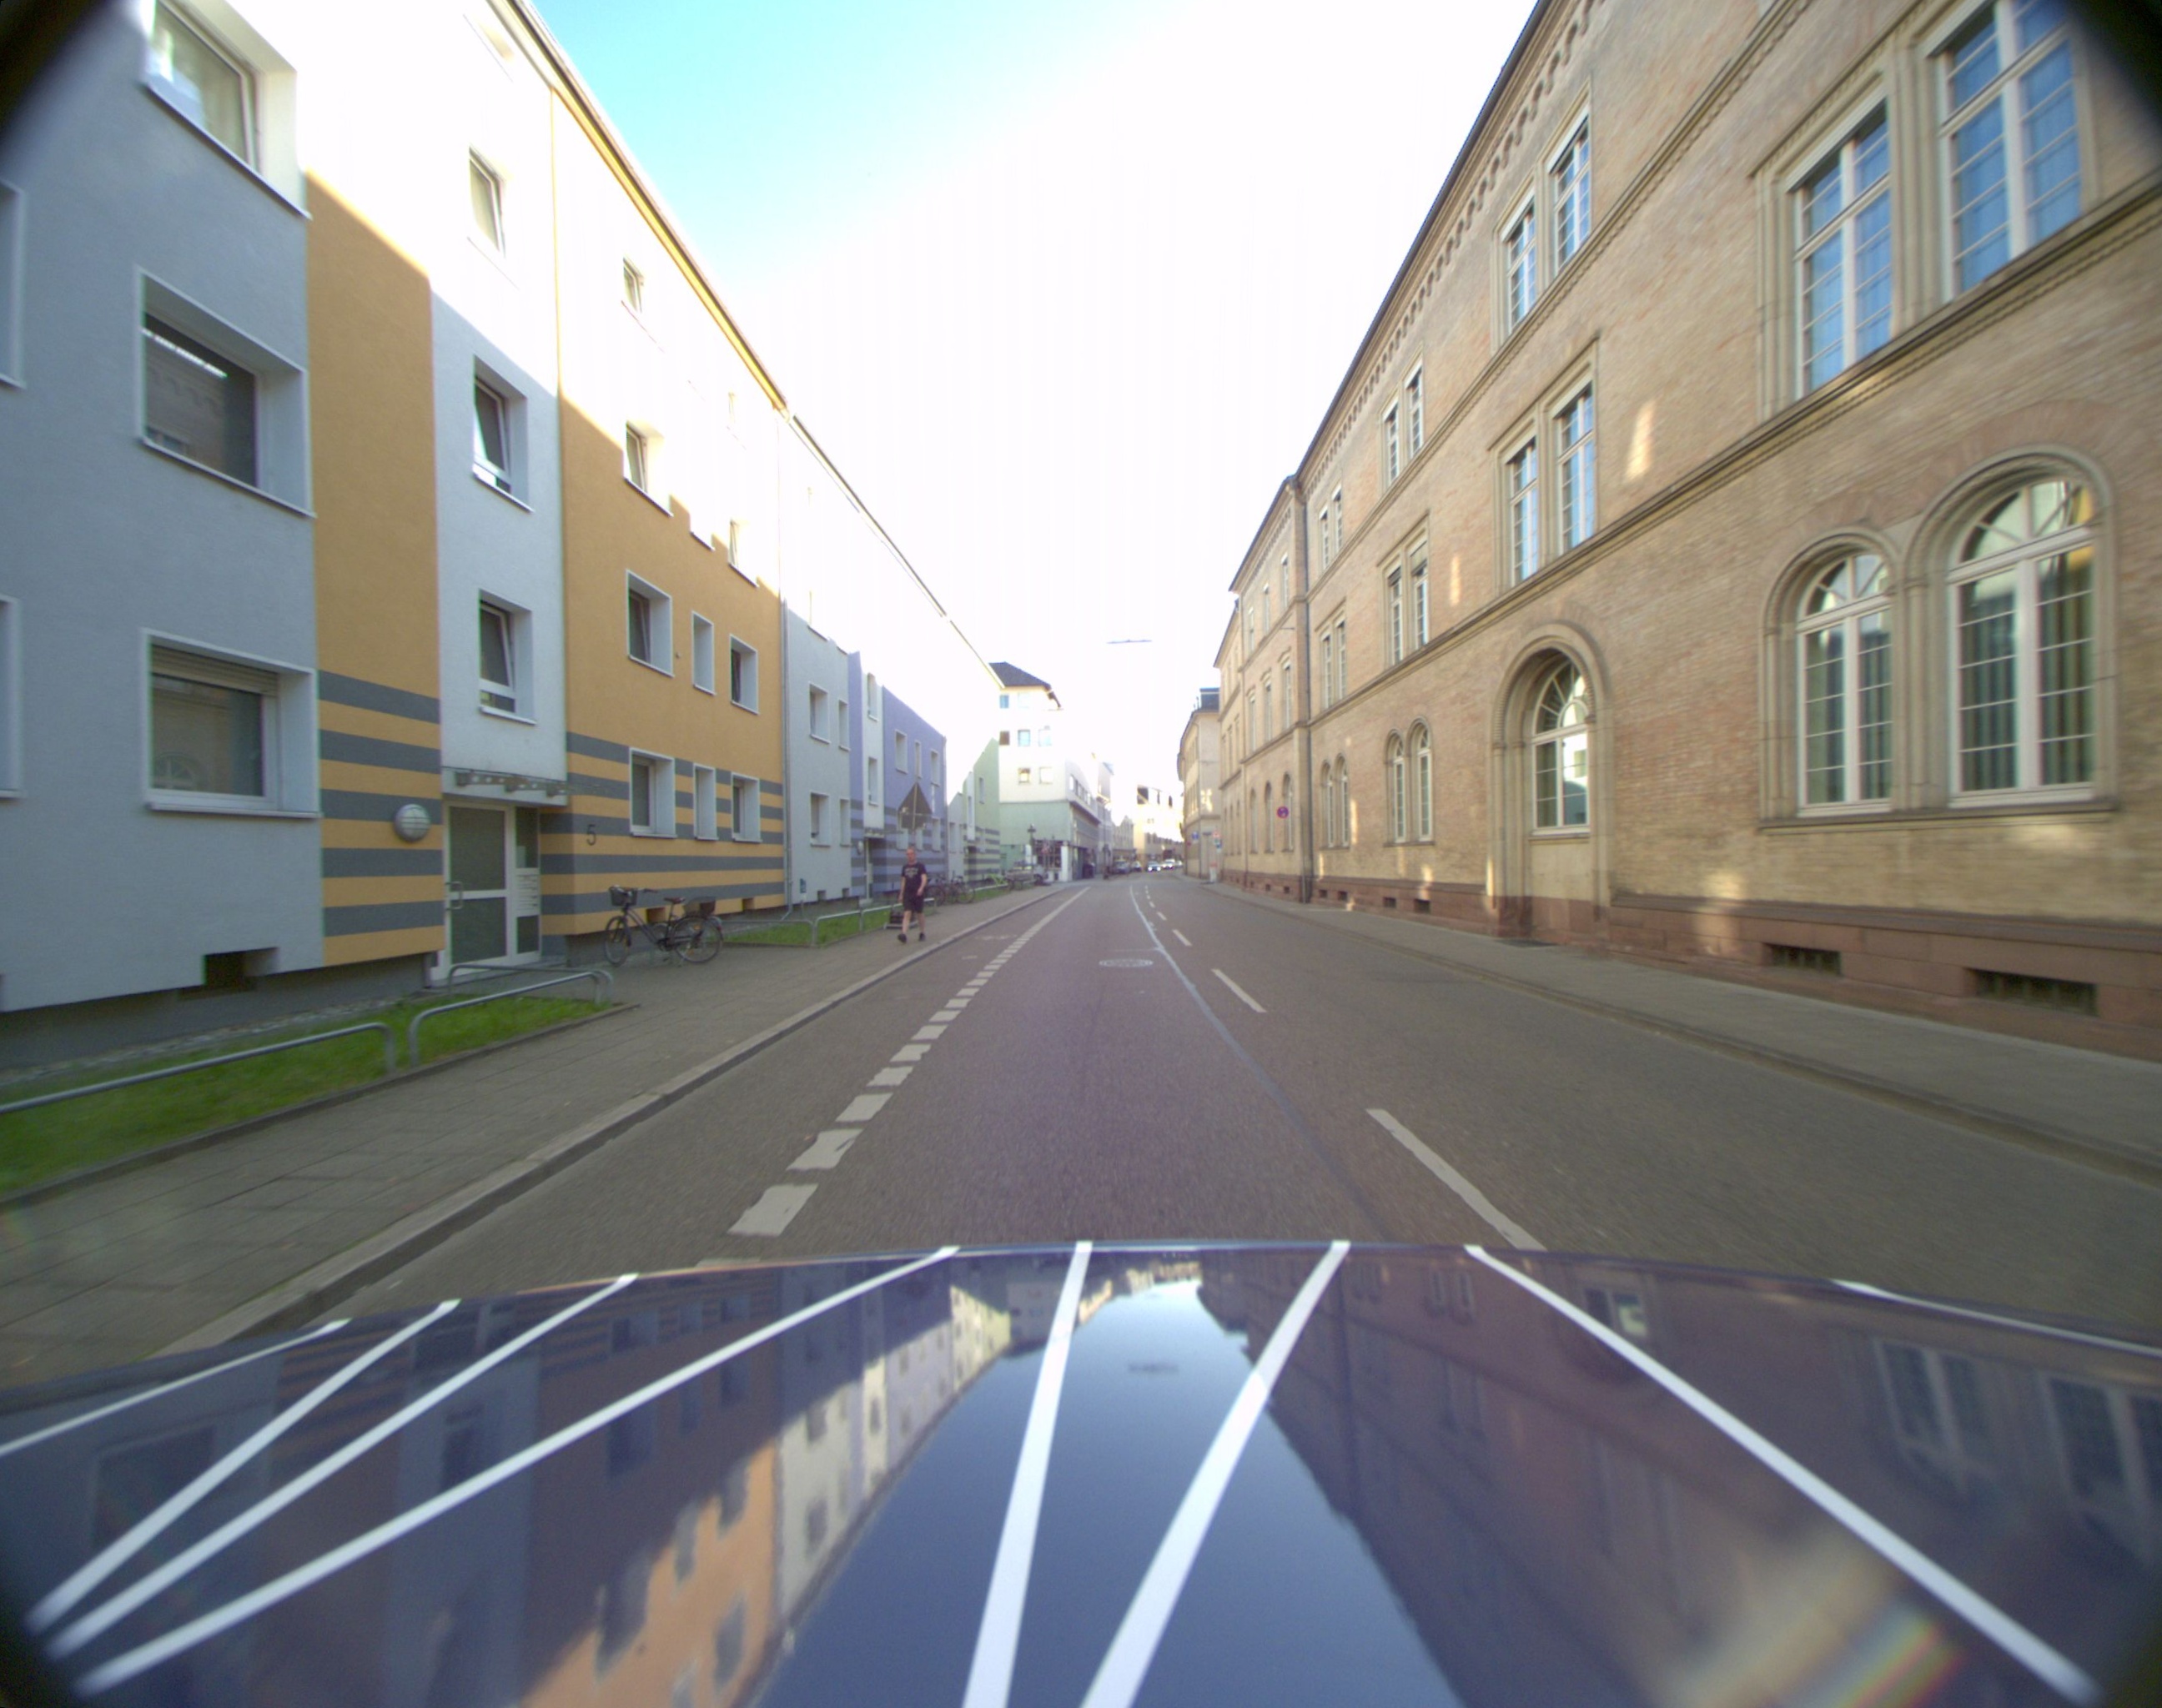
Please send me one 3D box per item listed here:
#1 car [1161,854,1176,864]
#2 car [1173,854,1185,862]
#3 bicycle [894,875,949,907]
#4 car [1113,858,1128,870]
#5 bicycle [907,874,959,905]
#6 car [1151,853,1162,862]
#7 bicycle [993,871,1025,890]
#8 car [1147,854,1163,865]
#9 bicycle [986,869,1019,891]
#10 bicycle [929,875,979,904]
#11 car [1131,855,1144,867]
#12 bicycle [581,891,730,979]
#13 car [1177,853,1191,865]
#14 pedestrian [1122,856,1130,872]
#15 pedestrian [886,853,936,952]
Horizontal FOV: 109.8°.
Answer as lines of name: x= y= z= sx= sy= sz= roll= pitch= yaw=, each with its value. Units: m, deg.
car: x=15.728 y=0.890 z=136.194 sx=1.921 sy=1.712 sz=4.966 roll=-1 pitch=0 yaw=15
car: x=20.383 y=0.783 z=157.825 sx=1.925 sy=1.714 sz=4.235 roll=-1 pitch=0 yaw=17
bicycle: x=-5.315 y=1.240 z=25.425 sx=1.711 sy=1.039 sz=0.636 roll=0 pitch=0 yaw=0
car: x=4.961 y=1.184 z=94.746 sx=1.634 sy=1.405 sz=3.686 roll=-1 pitch=0 yaw=6
bicycle: x=-5.156 y=1.229 z=26.574 sx=1.711 sy=1.075 sz=0.636 roll=0 pitch=0 yaw=-1
car: x=14.263 y=0.646 z=143.194 sx=1.534 sy=1.714 sz=3.743 roll=-1 pitch=0 yaw=14
bicycle: x=-3.908 y=1.435 z=41.207 sx=1.711 sy=0.972 sz=0.516 roll=0 pitch=0 yaw=-4
car: x=11.521 y=0.836 z=118.050 sx=1.860 sy=1.714 sz=3.743 roll=-1 pitch=0 yaw=13
bicycle: x=-4.103 y=1.364 z=39.739 sx=1.711 sy=1.097 sz=0.584 roll=0 pitch=0 yaw=-4
bicycle: x=-4.558 y=1.261 z=27.359 sx=1.711 sy=1.029 sz=0.636 roll=0 pitch=0 yaw=-4
car: x=8.606 y=1.022 z=116.223 sx=1.535 sy=1.714 sz=3.742 roll=-1 pitch=0 yaw=10
bicycle: x=-5.918 y=1.112 z=10.643 sx=1.711 sy=1.152 sz=0.636 roll=0 pitch=0 yaw=-4
car: x=15.574 y=0.788 z=114.763 sx=1.663 sy=1.714 sz=3.742 roll=-1 pitch=0 yaw=12
pedestrian: x=4.329 y=0.993 z=72.396 sx=0.660 sy=1.510 sz=0.709 roll=-1 pitch=0 yaw=9
pedestrian: x=-3.156 y=0.875 z=14.188 sx=0.646 sy=1.778 sz=0.915 roll=2 pitch=0 yaw=2
